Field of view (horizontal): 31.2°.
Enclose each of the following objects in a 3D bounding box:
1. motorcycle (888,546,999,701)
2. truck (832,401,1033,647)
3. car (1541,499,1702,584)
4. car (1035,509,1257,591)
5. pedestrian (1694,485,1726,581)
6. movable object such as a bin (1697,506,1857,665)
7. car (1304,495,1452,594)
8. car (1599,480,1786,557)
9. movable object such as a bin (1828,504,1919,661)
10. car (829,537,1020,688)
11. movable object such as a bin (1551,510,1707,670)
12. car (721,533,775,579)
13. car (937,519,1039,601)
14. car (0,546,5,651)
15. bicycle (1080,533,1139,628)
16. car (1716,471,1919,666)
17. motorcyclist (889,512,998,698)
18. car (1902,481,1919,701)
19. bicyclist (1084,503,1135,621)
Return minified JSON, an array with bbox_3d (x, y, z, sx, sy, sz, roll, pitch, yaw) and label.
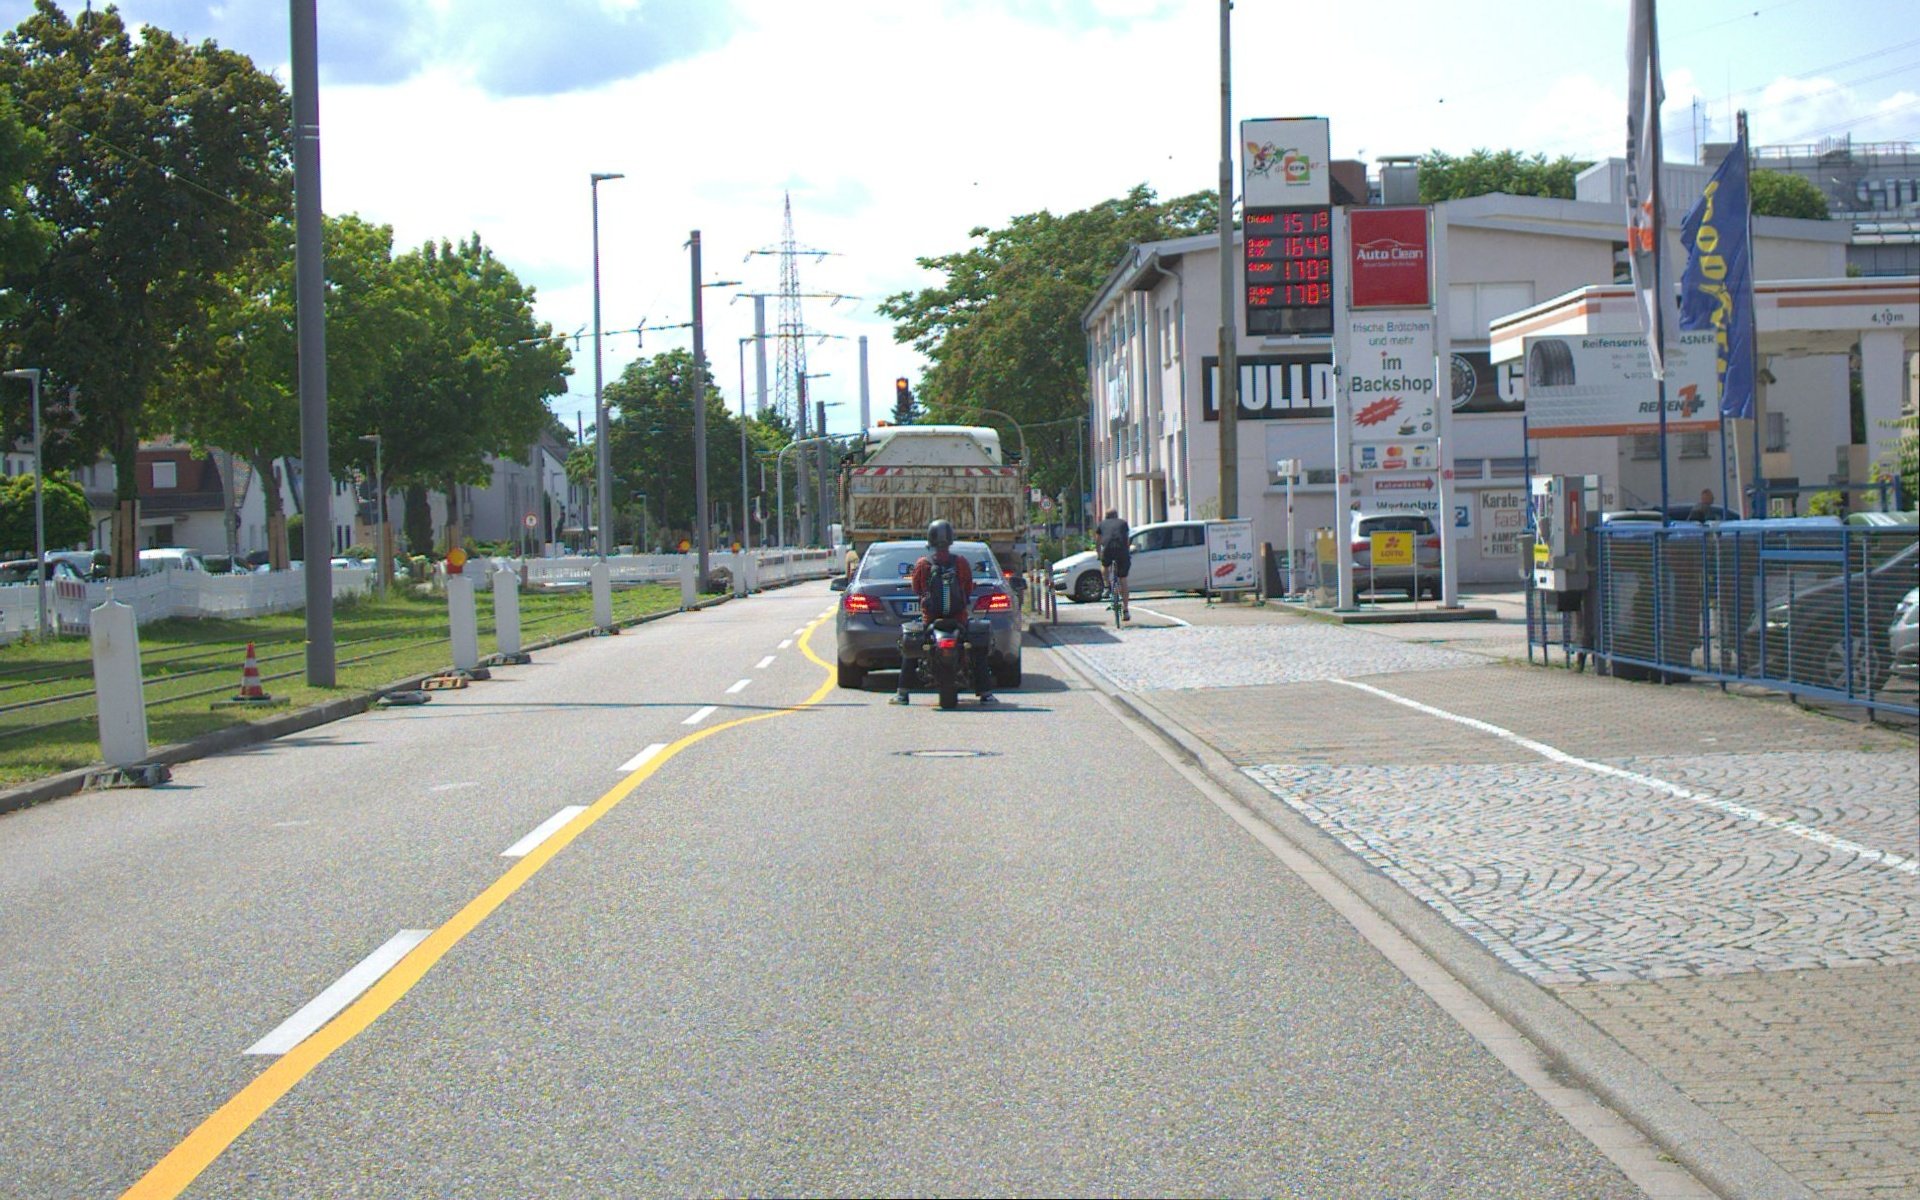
[{"bbox_3d":[-0.152,0.183,30.697,0.939,1.316,2.645,0,1,0],"label":"motorcycle"},{"bbox_3d":[-0.360,-1.218,51.488,2.610,3.244,9.183,-2,2,0],"label":"truck"},{"bbox_3d":[12.003,-1.048,62.654,1.959,1.415,4.000,-2,1,-2],"label":"car"},{"bbox_3d":[3.900,-1.051,72.561,4.329,1.546,1.950,-3,1,-8],"label":"car"},{"bbox_3d":[13.260,-1.180,60.756,0.396,1.683,0.485,-2,0,1],"label":"pedestrian"},{"bbox_3d":[7.711,-0.140,32.477,1.256,1.439,0.824,-2,0,0],"label":"movable object such as a bin"},{"bbox_3d":[7.495,-0.979,61.943,1.959,1.643,4.000,-2,1,-2],"label":"car"},{"bbox_3d":[17.512,-1.948,82.286,3.987,1.643,1.966,-2,1,-1],"label":"car"},{"bbox_3d":[9.043,-0.184,32.484,1.320,1.439,0.955,-2,0,-7],"label":"movable object such as a bin"},{"bbox_3d":[-0.358,0.083,35.171,1.821,1.419,4.000,-1,1,0],"label":"car"},{"bbox_3d":[6.334,-0.097,32.590,1.256,1.439,0.824,-2,0,0],"label":"movable object such as a bin"},{"bbox_3d":[-7.101,-1.490,115.584,1.654,1.442,4.304,-2,1,-2],"label":"car"},{"bbox_3d":[0.513,-0.769,64.358,1.821,1.459,4.000,-1,1,0],"label":"car"},{"bbox_3d":[-16.944,0.037,55.299,1.993,1.744,4.000,-2,1,0],"label":"car"},{"bbox_3d":[2.225,-0.314,51.450,0.693,1.357,2.419,-2,1,-1],"label":"bicycle"},{"bbox_3d":[7.953,-0.284,26.476,3.990,1.438,1.709,-2,1,17],"label":"car"},{"bbox_3d":[-0.147,0.034,30.514,0.939,1.609,1.205,0,1,0],"label":"motorcyclist"},{"bbox_3d":[8.570,-0.131,23.637,3.990,1.491,1.749,-2,1,15],"label":"car"},{"bbox_3d":[2.225,-0.570,51.244,0.671,1.738,0.813,-2,1,-1],"label":"bicyclist"}]
